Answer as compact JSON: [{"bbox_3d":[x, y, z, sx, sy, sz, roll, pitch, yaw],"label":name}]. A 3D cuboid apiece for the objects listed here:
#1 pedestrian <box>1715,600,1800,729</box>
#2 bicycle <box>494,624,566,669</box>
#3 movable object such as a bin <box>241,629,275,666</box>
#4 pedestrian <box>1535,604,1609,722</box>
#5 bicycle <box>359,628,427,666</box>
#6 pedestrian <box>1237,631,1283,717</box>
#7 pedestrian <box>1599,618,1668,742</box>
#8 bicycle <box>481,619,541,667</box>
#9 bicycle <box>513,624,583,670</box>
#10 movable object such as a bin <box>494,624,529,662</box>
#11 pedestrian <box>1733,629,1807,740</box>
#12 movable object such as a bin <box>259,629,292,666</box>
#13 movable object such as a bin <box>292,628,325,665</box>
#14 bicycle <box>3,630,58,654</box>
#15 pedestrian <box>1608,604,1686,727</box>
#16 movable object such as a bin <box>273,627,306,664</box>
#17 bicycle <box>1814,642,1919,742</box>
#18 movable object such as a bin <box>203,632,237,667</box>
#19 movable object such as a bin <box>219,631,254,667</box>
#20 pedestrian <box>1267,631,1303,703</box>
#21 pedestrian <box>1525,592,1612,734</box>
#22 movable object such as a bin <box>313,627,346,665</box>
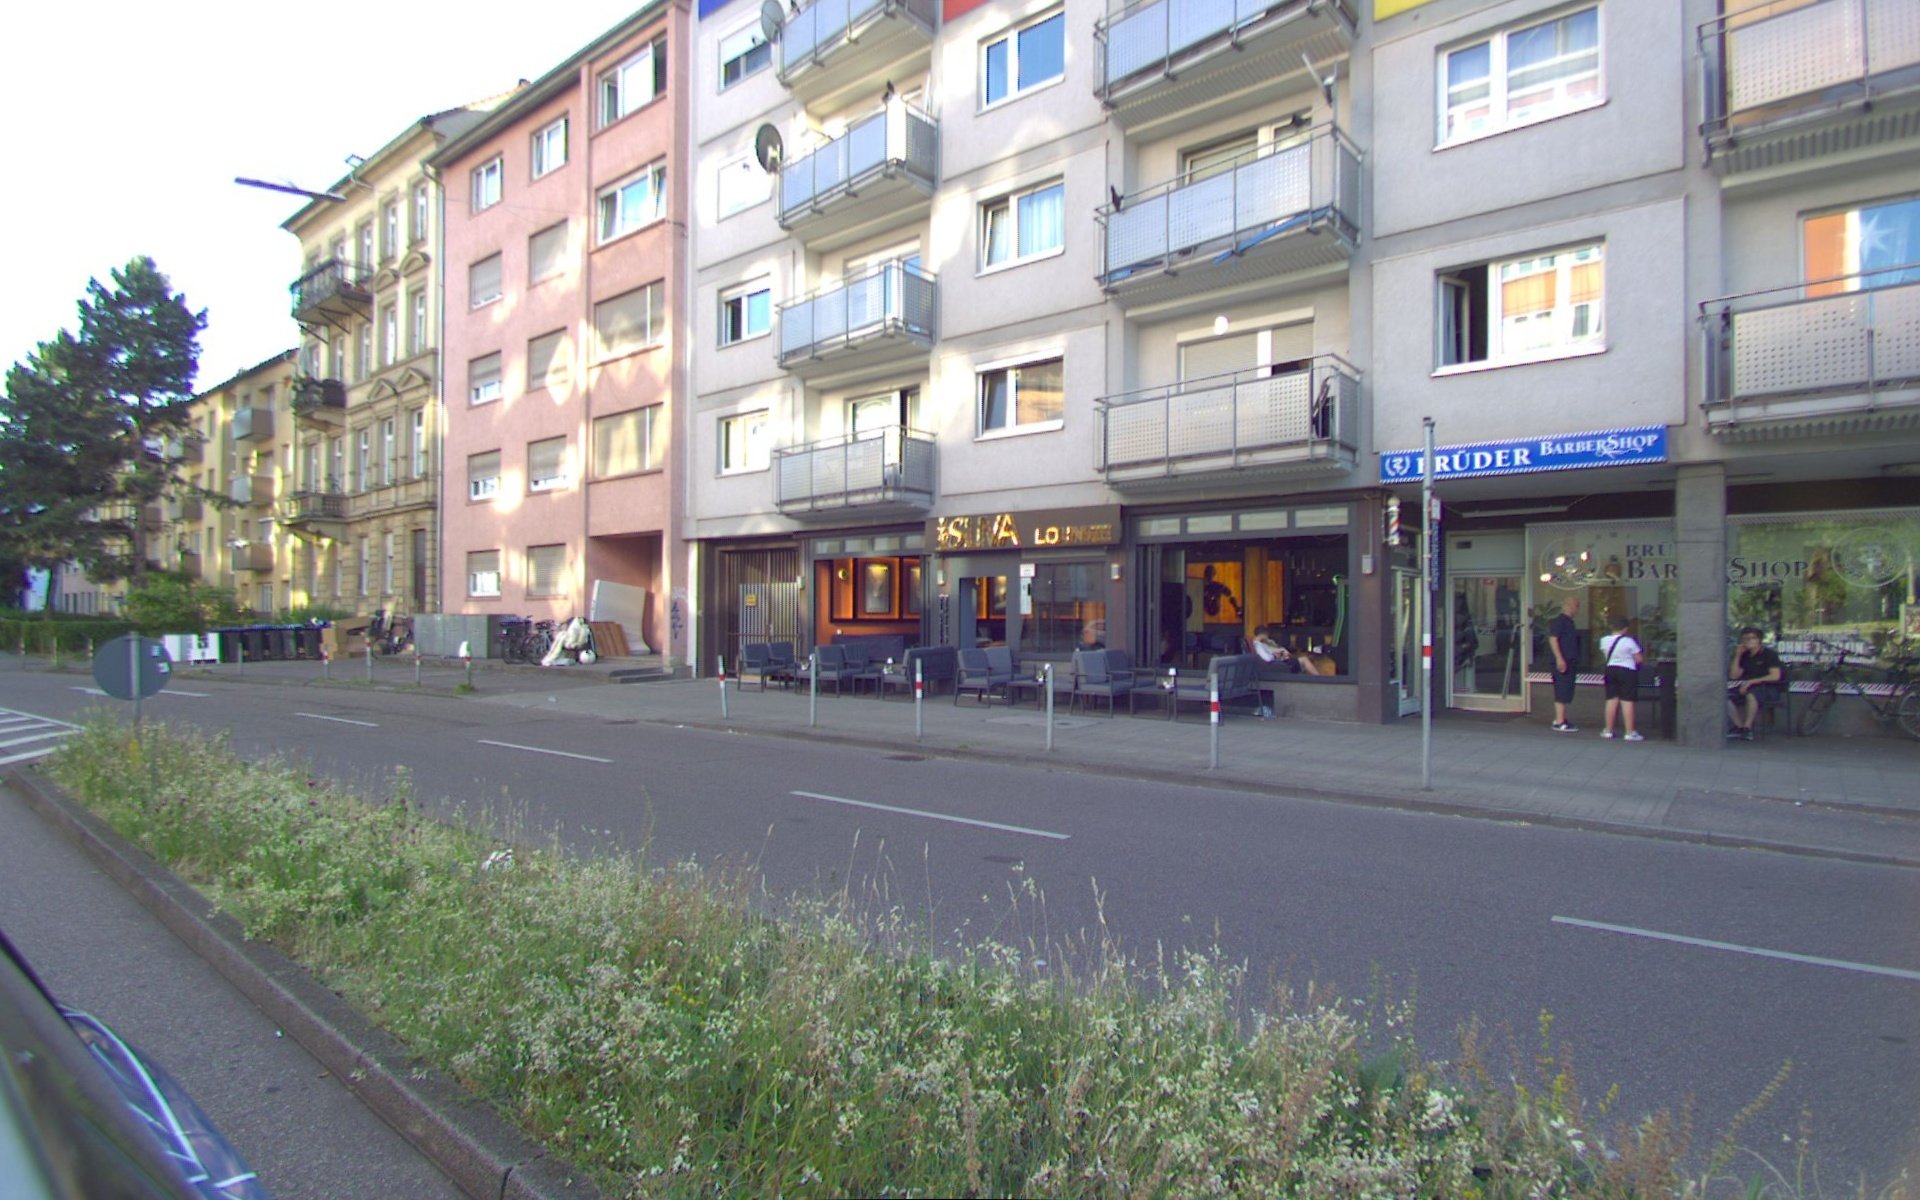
[{"bbox_3d":[10.187,0.806,12.952,0.786,1.590,0.556,-1,-2,35],"label":"pedestrian"},{"bbox_3d":[-10.827,1.151,25.545,0.548,1.048,1.656,0,0,33],"label":"bicycle"},{"bbox_3d":[-22.118,1.487,31.890,0.577,1.119,0.640,0,1,10],"label":"movable object such as a bin"},{"bbox_3d":[8.564,0.864,14.165,0.787,1.590,0.555,-1,-2,41],"label":"pedestrian"},{"bbox_3d":[-17.302,1.422,30.907,0.661,0.974,1.633,-1,4,38],"label":"bicycle"},{"bbox_3d":[4.368,1.067,14.759,0.546,1.212,0.521,0,-2,8],"label":"pedestrian"},{"bbox_3d":[7.800,0.906,11.728,0.476,1.394,0.483,1,-2,-30],"label":"pedestrian"},{"bbox_3d":[-11.502,1.079,25.992,0.491,1.169,1.667,0,0,14],"label":"bicycle"},{"bbox_3d":[-10.171,1.139,25.038,0.546,1.048,1.661,0,0,25],"label":"bicycle"},{"bbox_3d":[-12.259,1.165,27.657,0.588,1.039,0.668,-1,-2,40],"label":"movable object such as a bin"},{"bbox_3d":[9.492,0.967,11.865,0.549,1.249,0.532,1,-2,-35],"label":"pedestrian"},{"bbox_3d":[-21.485,1.470,31.773,0.577,1.119,0.640,0,1,10],"label":"movable object such as a bin"},{"bbox_3d":[-20.270,1.447,31.502,0.577,1.119,0.640,0,1,10],"label":"movable object such as a bin"},{"bbox_3d":[-41.672,1.866,45.387,0.589,0.989,1.740,-1,-1,41],"label":"bicycle"},{"bbox_3d":[9.251,0.861,13.624,0.787,1.590,0.555,-1,-2,41],"label":"pedestrian"},{"bbox_3d":[-20.870,1.420,31.521,0.577,1.119,0.640,0,1,10],"label":"movable object such as a bin"},{"bbox_3d":[10.778,1.047,11.618,1.454,1.089,0.582,0,-1,38],"label":"bicycle"},{"bbox_3d":[-23.477,1.565,32.112,0.577,1.091,0.640,0,1,10],"label":"movable object such as a bin"},{"bbox_3d":[-22.837,1.537,31.941,0.620,1.076,0.640,0,1,10],"label":"movable object such as a bin"},{"bbox_3d":[5.112,1.041,15.922,0.518,1.088,0.549,-1,-2,18],"label":"pedestrian"},{"bbox_3d":[7.618,0.774,12.694,0.552,1.714,0.781,0,-2,-6],"label":"pedestrian"},{"bbox_3d":[-19.611,1.428,31.492,0.577,1.119,0.640,0,1,10],"label":"movable object such as a bin"}]
